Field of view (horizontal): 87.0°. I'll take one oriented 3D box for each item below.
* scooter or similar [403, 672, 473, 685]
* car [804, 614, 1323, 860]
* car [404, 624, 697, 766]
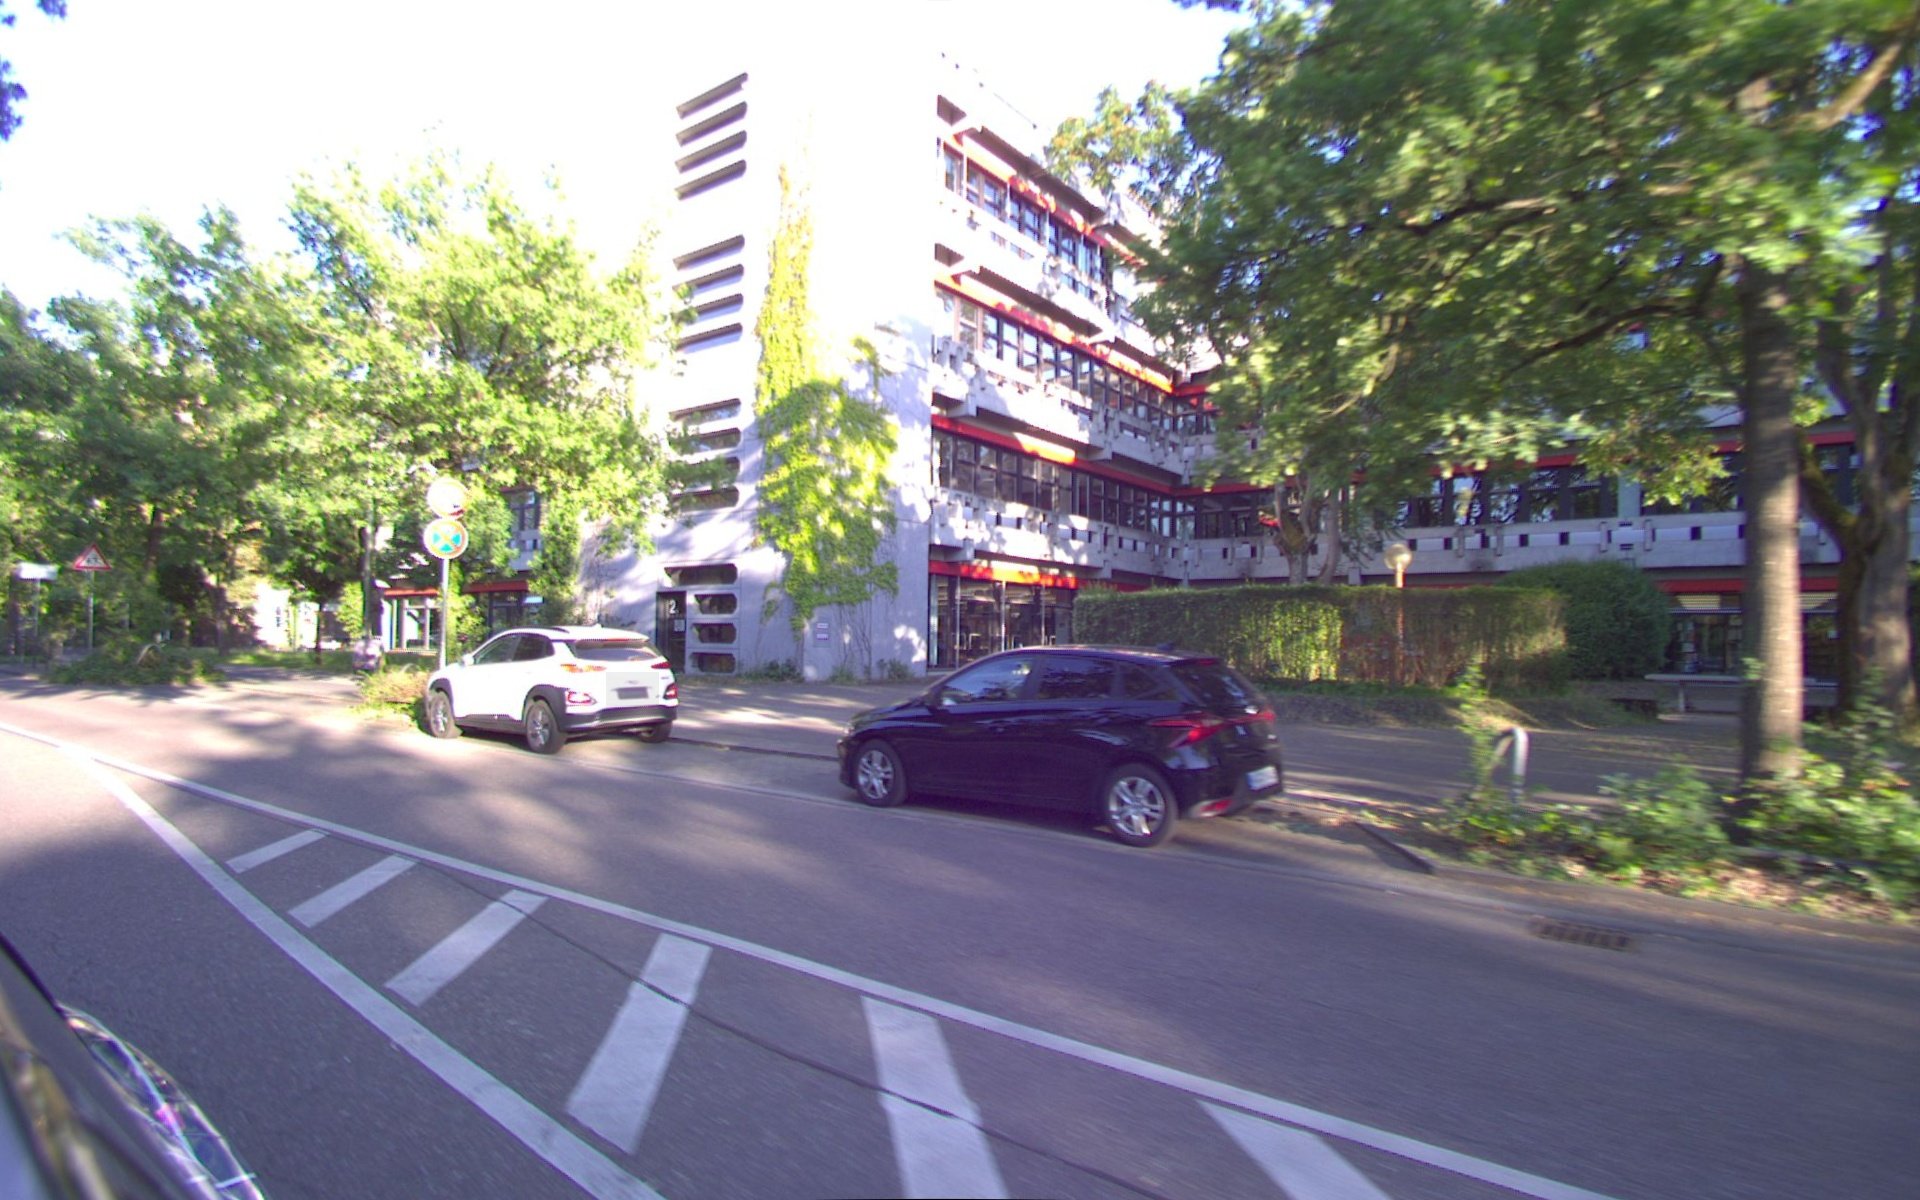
[{"bbox_3d":[-14.056,2.099,27.260,1.242,0.278,1.157,-1,-2,22],"label":"scooter or similar"},{"bbox_3d":[0.749,0.955,8.697,4.140,1.628,1.763,-1,-2,37],"label":"car"},{"bbox_3d":[-5.628,1.167,13.723,4.140,1.628,1.786,-1,-3,37],"label":"car"}]
